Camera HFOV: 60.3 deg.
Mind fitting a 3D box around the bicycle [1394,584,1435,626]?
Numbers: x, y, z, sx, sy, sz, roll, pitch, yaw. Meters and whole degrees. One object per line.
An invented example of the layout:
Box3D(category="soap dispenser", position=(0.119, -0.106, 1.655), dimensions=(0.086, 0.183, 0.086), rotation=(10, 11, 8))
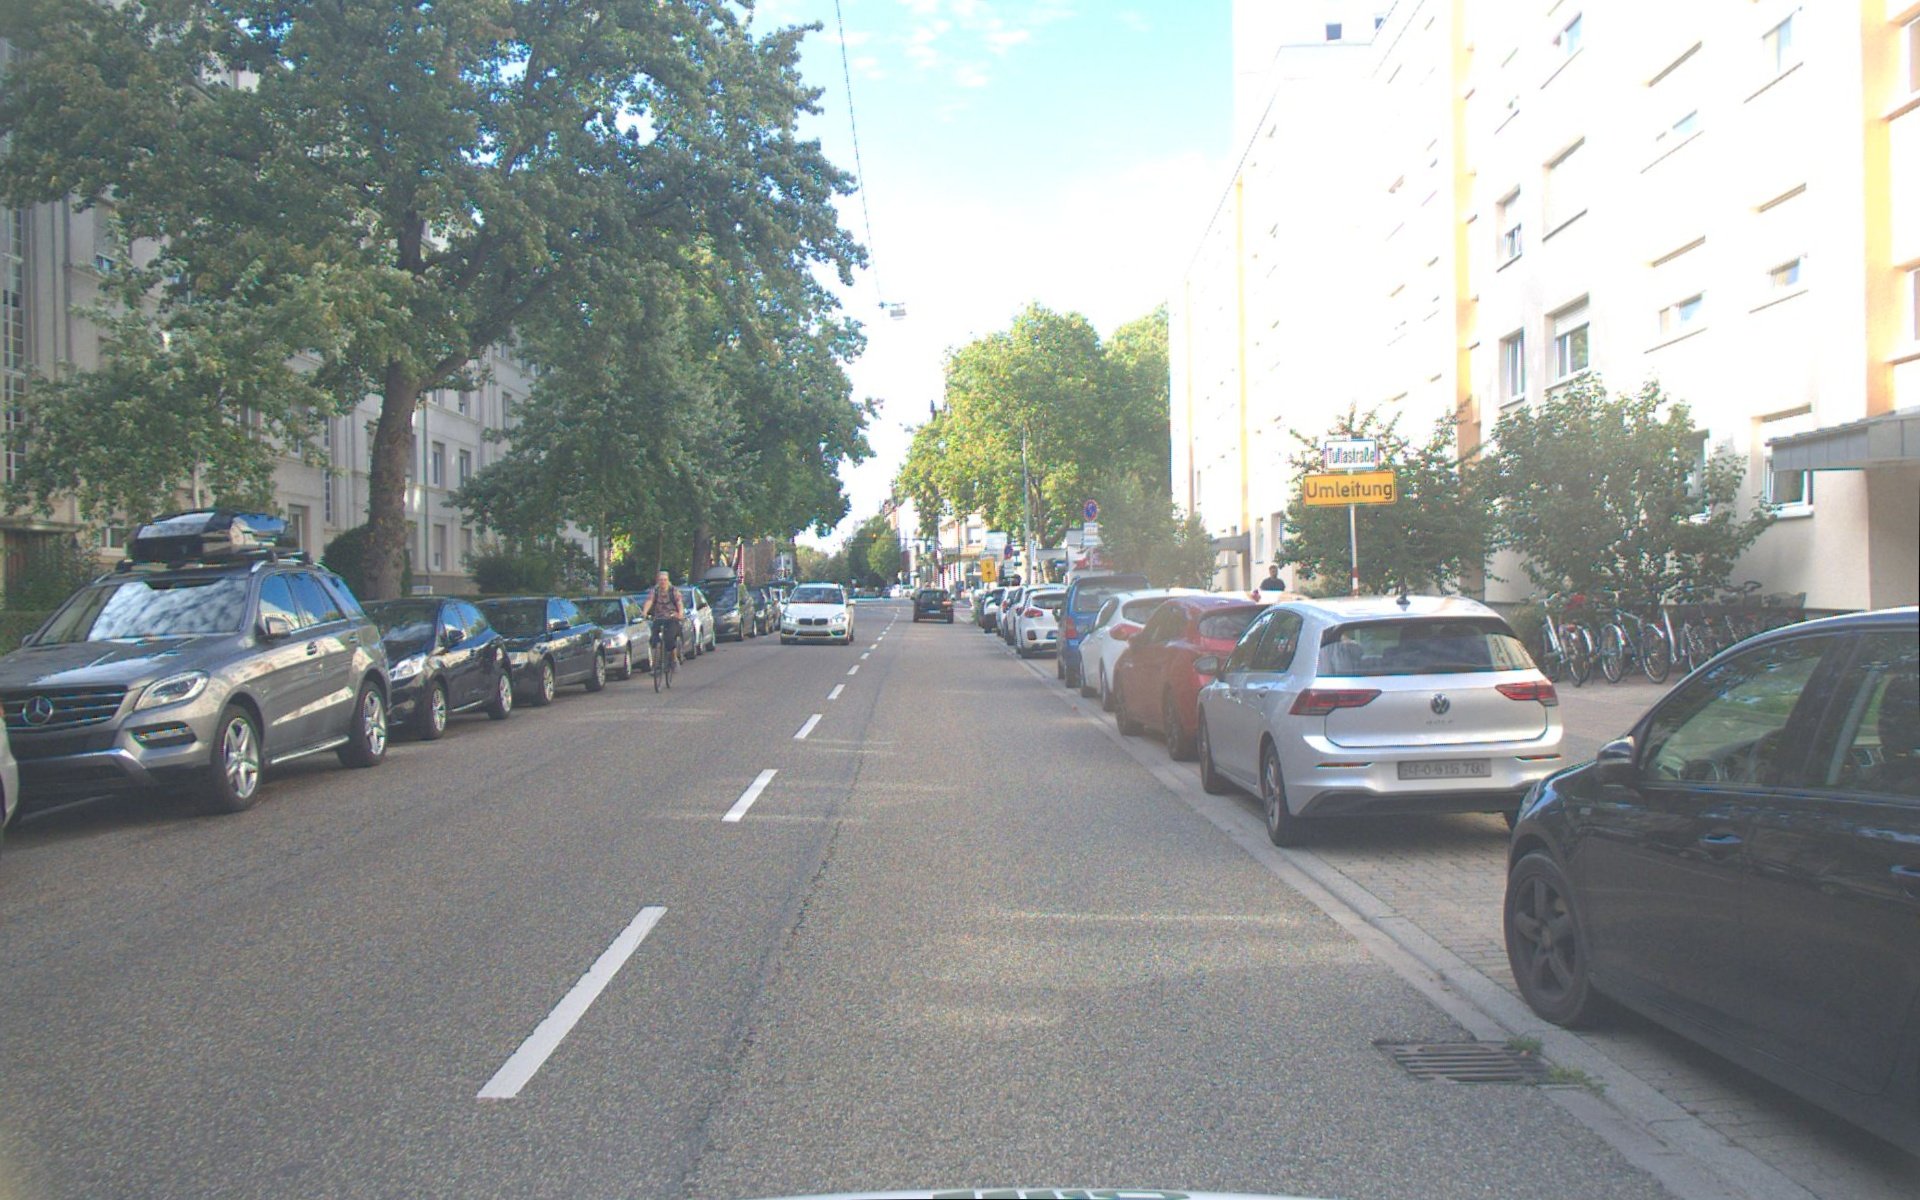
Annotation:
Box3D(category="bicycle", position=(10.644, 0.111, 38.771), dimensions=(0.449, 0.943, 1.516), rotation=(-2, 1, -2))

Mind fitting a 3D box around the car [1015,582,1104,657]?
Box3D(category="car", position=(2.188, 0.402, 37.400), dimensions=(1.693, 1.513, 4.641), rotation=(-2, 0, 0))

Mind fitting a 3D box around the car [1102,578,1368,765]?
Box3D(category="car", position=(2.571, 0.606, 16.425), dimensions=(1.694, 1.541, 4.189), rotation=(-3, 0, -3))

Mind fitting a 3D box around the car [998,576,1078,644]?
Box3D(category="car", position=(1.989, 0.229, 43.235), dimensions=(1.694, 1.608, 4.116), rotation=(-2, 0, -2))

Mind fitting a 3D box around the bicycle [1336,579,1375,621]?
Box3D(category="bicycle", position=(9.227, -0.007, 38.603), dimensions=(0.449, 0.943, 1.516), rotation=(-2, 1, -2))

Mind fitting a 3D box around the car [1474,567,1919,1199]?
Box3D(category="car", position=(2.948, 0.687, 4.556), dimensions=(1.629, 1.517, 3.940), rotation=(-3, 0, -3))

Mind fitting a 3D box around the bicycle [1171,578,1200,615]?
Box3D(category="bicycle", position=(7.942, -0.132, 58.255), dimensions=(0.585, 1.207, 2.209), rotation=(-4, 1, -1))

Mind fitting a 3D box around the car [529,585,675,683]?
Box3D(category="car", position=(-6.151, 0.530, 28.801), dimensions=(1.568, 1.443, 3.964), rotation=(-4, 1, 0))

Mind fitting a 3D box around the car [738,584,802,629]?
Box3D(category="car", position=(-7.067, 0.216, 61.785), dimensions=(1.659, 1.519, 4.334), rotation=(-3, 1, 2))

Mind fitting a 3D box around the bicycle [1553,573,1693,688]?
Box3D(category="bicycle", position=(8.223, 0.350, 20.656), dimensions=(0.592, 1.313, 2.635), rotation=(-3, 0, -1))

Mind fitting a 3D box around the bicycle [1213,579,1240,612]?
Box3D(category="bicycle", position=(9.357, -0.171, 58.101), dimensions=(0.518, 1.134, 2.209), rotation=(-2, 1, -1))

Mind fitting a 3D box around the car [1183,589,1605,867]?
Box3D(category="car", position=(2.674, 0.691, 11.156), dimensions=(1.628, 1.440, 4.058), rotation=(-3, 0, -2))

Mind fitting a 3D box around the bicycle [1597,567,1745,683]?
Box3D(category="bicycle", position=(8.817, 0.287, 20.650), dimensions=(0.583, 1.313, 2.635), rotation=(-4, 0, -1))

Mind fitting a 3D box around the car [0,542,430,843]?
Box3D(category="car", position=(-5.839, 0.574, 12.972), dimensions=(1.840, 1.824, 4.968), rotation=(-4, 1, -2))

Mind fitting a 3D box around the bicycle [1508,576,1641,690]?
Box3D(category="bicycle", position=(7.603, 0.375, 20.605), dimensions=(0.592, 1.313, 2.635), rotation=(-2, 0, -1))

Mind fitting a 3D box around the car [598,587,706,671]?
Box3D(category="car", position=(-6.228, 0.549, 33.842), dimensions=(1.582, 1.493, 4.011), rotation=(-4, 1, -3))

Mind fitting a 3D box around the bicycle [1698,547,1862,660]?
Box3D(category="bicycle", position=(10.222, 0.033, 20.756), dimensions=(0.712, 1.313, 2.635), rotation=(-1, 0, -1))

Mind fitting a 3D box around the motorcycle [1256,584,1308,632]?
Box3D(category="motorcycle", position=(7.539, 0.171, 38.849), dimensions=(0.618, 1.063, 2.393), rotation=(-3, 1, -2))

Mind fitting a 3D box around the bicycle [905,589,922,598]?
Box3D(category="bicycle", position=(-5.522, -0.779, 196.000), dimensions=(1.989, 1.101, 0.618), rotation=(-2, 1, -15))

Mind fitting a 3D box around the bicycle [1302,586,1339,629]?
Box3D(category="bicycle", position=(8.433, 0.173, 38.773), dimensions=(0.449, 0.958, 1.516), rotation=(-2, 1, -2))

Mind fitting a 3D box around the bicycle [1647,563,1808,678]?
Box3D(category="bicycle", position=(9.526, 0.232, 20.672), dimensions=(0.712, 1.313, 2.635), rotation=(-2, 0, -1))

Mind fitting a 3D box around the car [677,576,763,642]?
Box3D(category="car", position=(-6.921, 0.218, 48.107), dimensions=(1.763, 1.697, 4.482), rotation=(-4, 1, 0))

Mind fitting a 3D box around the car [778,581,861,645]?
Box3D(category="car", position=(-3.669, 0.302, 43.748), dimensions=(1.821, 1.555, 4.010), rotation=(-1, 1, 0))

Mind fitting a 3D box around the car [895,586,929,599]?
Box3D(category="car", position=(-5.781, -0.903, 198.393), dimensions=(3.913, 1.445, 1.996), rotation=(-2, 1, -9))

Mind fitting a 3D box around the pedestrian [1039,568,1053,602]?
Box3D(category="pedestrian", position=(4.335, -0.761, 83.128), dimensions=(0.639, 1.674, 0.743), rotation=(-1, 0, -2))

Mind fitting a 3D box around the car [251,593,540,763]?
Box3D(category="car", position=(-6.086, 0.761, 18.360), dimensions=(1.651, 1.506, 4.119), rotation=(-5, 1, 1))

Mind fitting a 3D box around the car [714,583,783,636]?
Box3D(category="car", position=(-6.721, 0.269, 52.870), dimensions=(1.666, 1.512, 3.847), rotation=(-4, 1, 0))

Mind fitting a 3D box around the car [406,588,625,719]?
Box3D(category="car", position=(-6.081, 0.660, 23.179), dimensions=(1.651, 1.506, 4.453), rotation=(-5, 1, 2))

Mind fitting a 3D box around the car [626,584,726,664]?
Box3D(category="car", position=(-6.622, 0.522, 38.893), dimensions=(1.704, 1.648, 3.992), rotation=(-5, 1, -3))

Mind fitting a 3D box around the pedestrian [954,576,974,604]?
Box3D(category="pedestrian", position=(0.262, -0.671, 106.697), dimensions=(1.057, 1.784, 0.914), rotation=(-1, 0, -18))

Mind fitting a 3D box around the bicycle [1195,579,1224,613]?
Box3D(category="bicycle", position=(8.749, -0.149, 58.093), dimensions=(0.585, 1.134, 2.209), rotation=(-3, 1, -1))

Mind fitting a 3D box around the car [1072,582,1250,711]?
Box3D(category="car", position=(2.568, 0.543, 22.071), dimensions=(1.694, 1.486, 4.115), rotation=(-3, 0, -2))

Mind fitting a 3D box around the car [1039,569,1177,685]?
Box3D(category="car", position=(2.342, 0.393, 27.086), dimensions=(1.694, 1.678, 4.115), rotation=(-2, 0, -2))

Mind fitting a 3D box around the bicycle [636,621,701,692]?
Box3D(category="bicycle", position=(-4.203, 0.795, 23.924), dimensions=(0.629, 0.940, 1.857), rotation=(-1, 0, -1))

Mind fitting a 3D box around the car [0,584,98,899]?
Box3D(category="car", position=(-5.814, 0.783, 7.117), dimensions=(1.817, 1.600, 4.459), rotation=(-3, 1, 0))

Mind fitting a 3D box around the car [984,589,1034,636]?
Box3D(category="car", position=(1.701, 0.413, 57.520), dimensions=(1.655, 1.555, 4.238), rotation=(-1, 0, 1))

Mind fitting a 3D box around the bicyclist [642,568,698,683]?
Box3D(category="bicyclist", position=(-4.196, 0.353, 23.978), dimensions=(0.628, 1.628, 0.990), rotation=(-1, 0, -1))

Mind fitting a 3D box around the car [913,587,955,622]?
Box3D(category="car", position=(-1.141, 0.165, 71.079), dimensions=(1.716, 1.438, 3.999), rotation=(-1, 1, -2))

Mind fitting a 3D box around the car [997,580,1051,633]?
Box3D(category="car", position=(1.972, 0.185, 51.766), dimensions=(1.519, 1.584, 3.467), rotation=(-1, 0, -1))

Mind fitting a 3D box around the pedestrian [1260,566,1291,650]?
Box3D(category="pedestrian", position=(6.643, 0.170, 34.833), dimensions=(0.530, 1.751, 0.772), rotation=(-1, 0, 4))
